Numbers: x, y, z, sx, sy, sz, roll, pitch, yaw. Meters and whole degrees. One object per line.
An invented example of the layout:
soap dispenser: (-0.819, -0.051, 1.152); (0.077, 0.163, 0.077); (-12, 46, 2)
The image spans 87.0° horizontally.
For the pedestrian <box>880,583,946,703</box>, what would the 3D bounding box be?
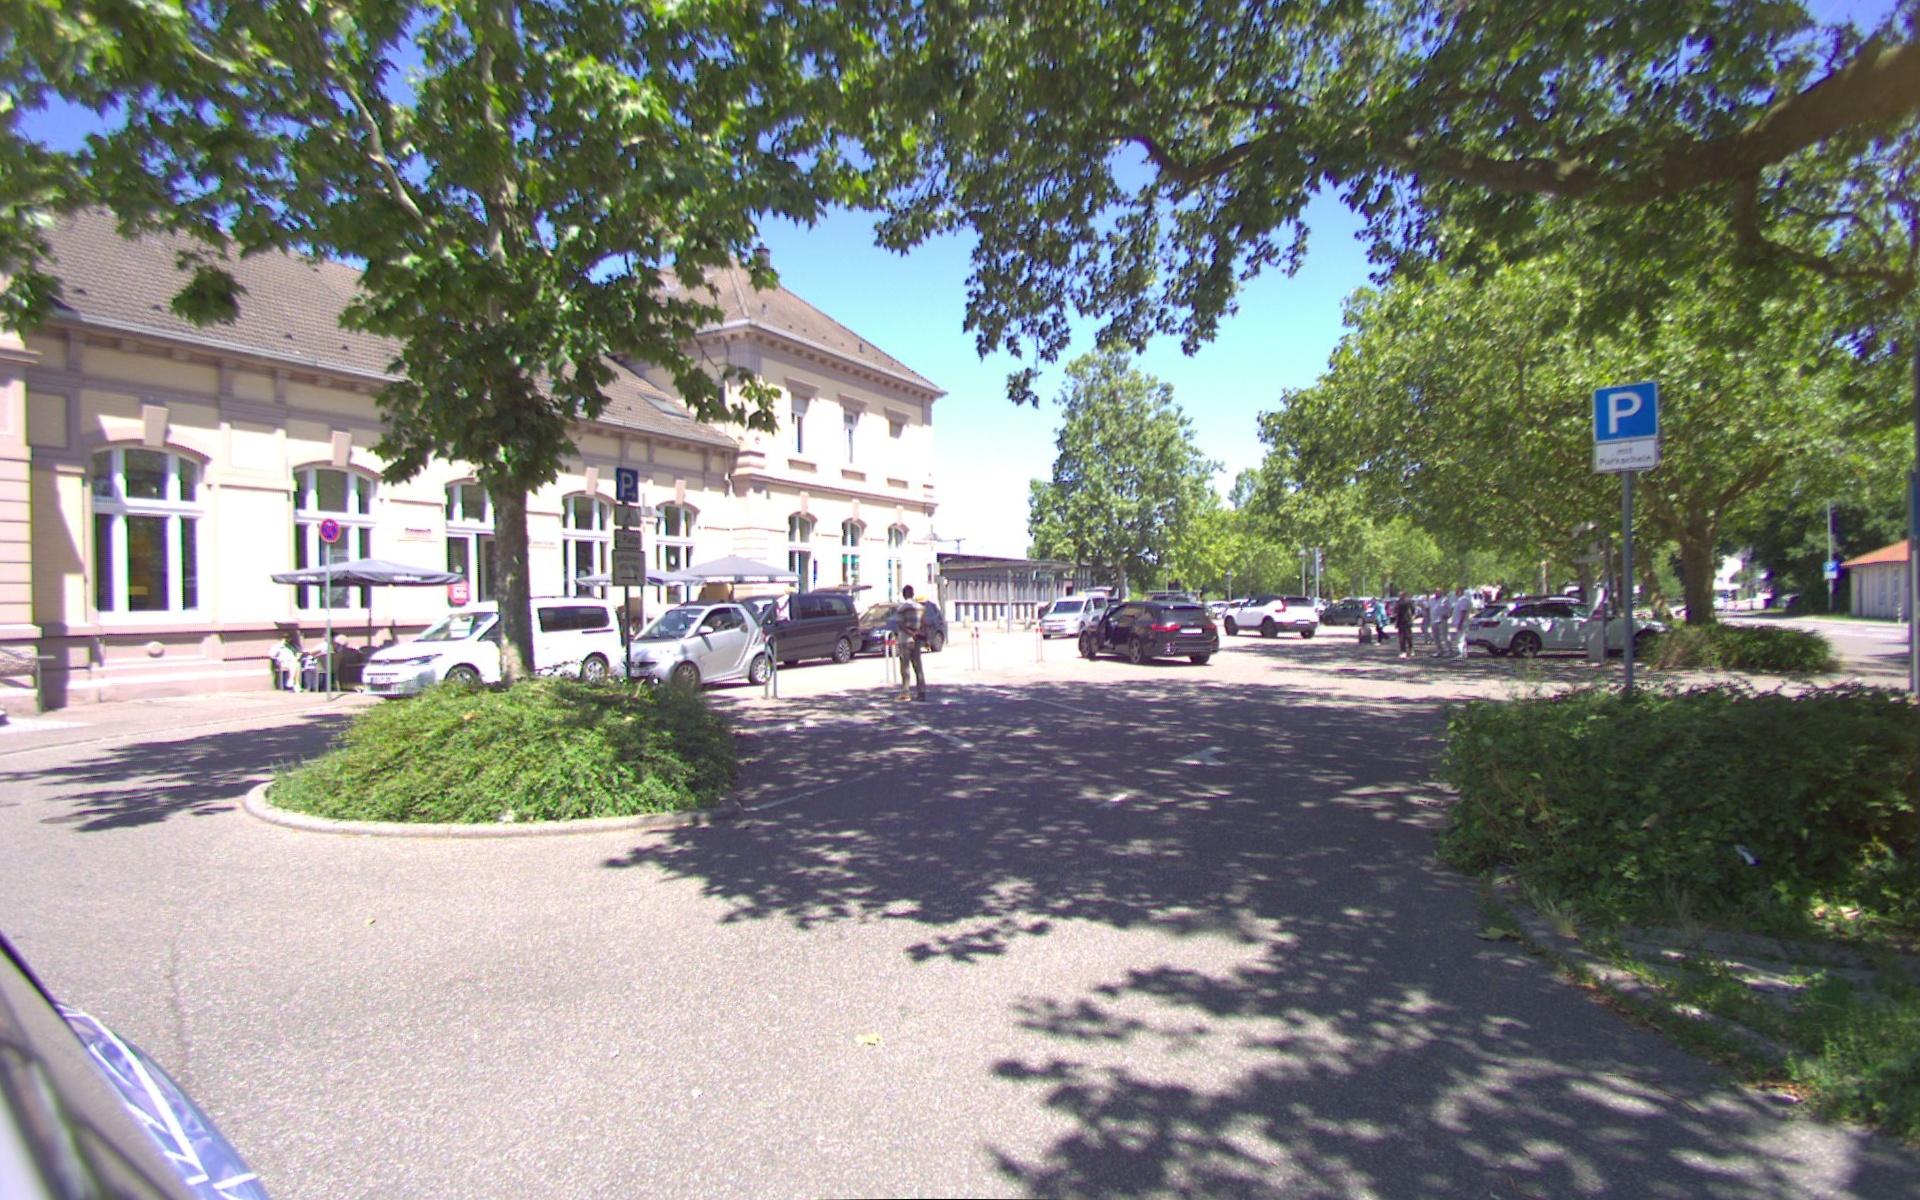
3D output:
pedestrian: (-0.709, 0.620, 15.156); (0.760, 1.730, 0.817); (-1, -1, -18)

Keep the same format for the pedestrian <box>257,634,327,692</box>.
pedestrian: (-13.300, 1.244, 20.160); (0.876, 1.088, 0.845); (0, 0, 24)

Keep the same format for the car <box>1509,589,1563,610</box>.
car: (40.412, -0.018, 71.061); (3.140, 1.405, 1.454); (-2, -1, 23)

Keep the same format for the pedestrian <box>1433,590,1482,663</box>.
pedestrian: (12.433, 0.653, 25.295); (0.829, 1.784, 0.850); (-1, -1, 8)

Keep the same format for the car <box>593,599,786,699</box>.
car: (-4.738, 0.798, 18.021); (1.596, 1.605, 3.074); (-2, -1, 31)

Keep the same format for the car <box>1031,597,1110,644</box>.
car: (4.912, 0.877, 44.261); (1.991, 1.854, 5.277); (-3, -1, 23)

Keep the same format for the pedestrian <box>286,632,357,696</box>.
pedestrian: (-12.456, 1.226, 19.754); (0.876, 1.170, 0.845); (0, 0, 24)

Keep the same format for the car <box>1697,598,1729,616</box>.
car: (78.163, 0.753, 105.091); (1.890, 1.788, 3.963); (-2, -1, 27)

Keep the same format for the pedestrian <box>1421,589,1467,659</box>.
pedestrian: (12.582, 0.612, 26.321); (0.829, 1.784, 0.849); (-1, -1, 9)

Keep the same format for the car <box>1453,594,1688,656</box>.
car: (15.360, 0.626, 25.729); (4.725, 1.427, 1.781); (-1, -1, 10)

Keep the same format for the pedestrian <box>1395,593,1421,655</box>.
pedestrian: (11.397, 0.596, 25.734); (0.586, 1.560, 0.605); (-1, -1, 24)

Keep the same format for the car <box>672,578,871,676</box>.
car: (-4.541, 0.675, 25.513); (2.080, 2.140, 5.780); (-2, -2, 23)

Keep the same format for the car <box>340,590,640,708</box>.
car: (-8.503, 0.857, 18.900); (1.805, 1.880, 5.094); (-3, -2, 26)

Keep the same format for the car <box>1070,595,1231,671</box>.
car: (4.436, 0.705, 24.328); (1.770, 1.554, 4.544); (-2, 1, -18)

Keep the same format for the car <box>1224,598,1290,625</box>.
car: (16.590, 0.656, 56.699); (1.772, 1.414, 3.524); (-1, -1, -21)

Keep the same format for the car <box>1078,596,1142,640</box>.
car: (7.453, 0.880, 50.006); (1.991, 2.005, 4.567); (-3, -1, 23)

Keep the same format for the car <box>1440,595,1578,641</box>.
car: (19.008, 0.626, 35.143); (3.822, 1.471, 1.636); (-1, -1, 1)

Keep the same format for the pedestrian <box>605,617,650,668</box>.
pedestrian: (-9.296, 1.175, 28.297); (0.876, 1.381, 0.845); (0, 0, 24)

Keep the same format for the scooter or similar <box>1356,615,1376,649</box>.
scooter or similar: (13.301, 1.037, 33.126); (0.430, 1.110, 0.404); (-1, -1, -33)

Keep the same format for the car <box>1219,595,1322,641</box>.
car: (11.887, 0.650, 39.066); (1.770, 1.617, 4.076); (-2, 1, -17)

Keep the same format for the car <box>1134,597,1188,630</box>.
car: (12.622, 0.819, 63.348); (1.991, 1.803, 4.206); (-4, -1, 29)

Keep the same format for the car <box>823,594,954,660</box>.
car: (-2.096, 0.833, 31.358); (2.067, 1.854, 4.803); (-2, -2, 23)

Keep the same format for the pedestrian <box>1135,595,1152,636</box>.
pedestrian: (9.100, 0.755, 50.199); (0.625, 2.005, 0.612); (-3, -2, 23)

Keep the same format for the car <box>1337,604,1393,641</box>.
car: (22.263, 1.214, 55.780); (1.717, 1.908, 3.994); (-1, -1, 5)

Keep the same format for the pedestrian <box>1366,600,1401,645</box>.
pedestrian: (13.638, 0.714, 32.585); (0.787, 1.435, 0.693); (-1, -1, -32)

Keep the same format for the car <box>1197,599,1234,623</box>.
car: (21.683, 0.918, 85.801); (1.991, 1.803, 4.206); (-4, -1, 29)
